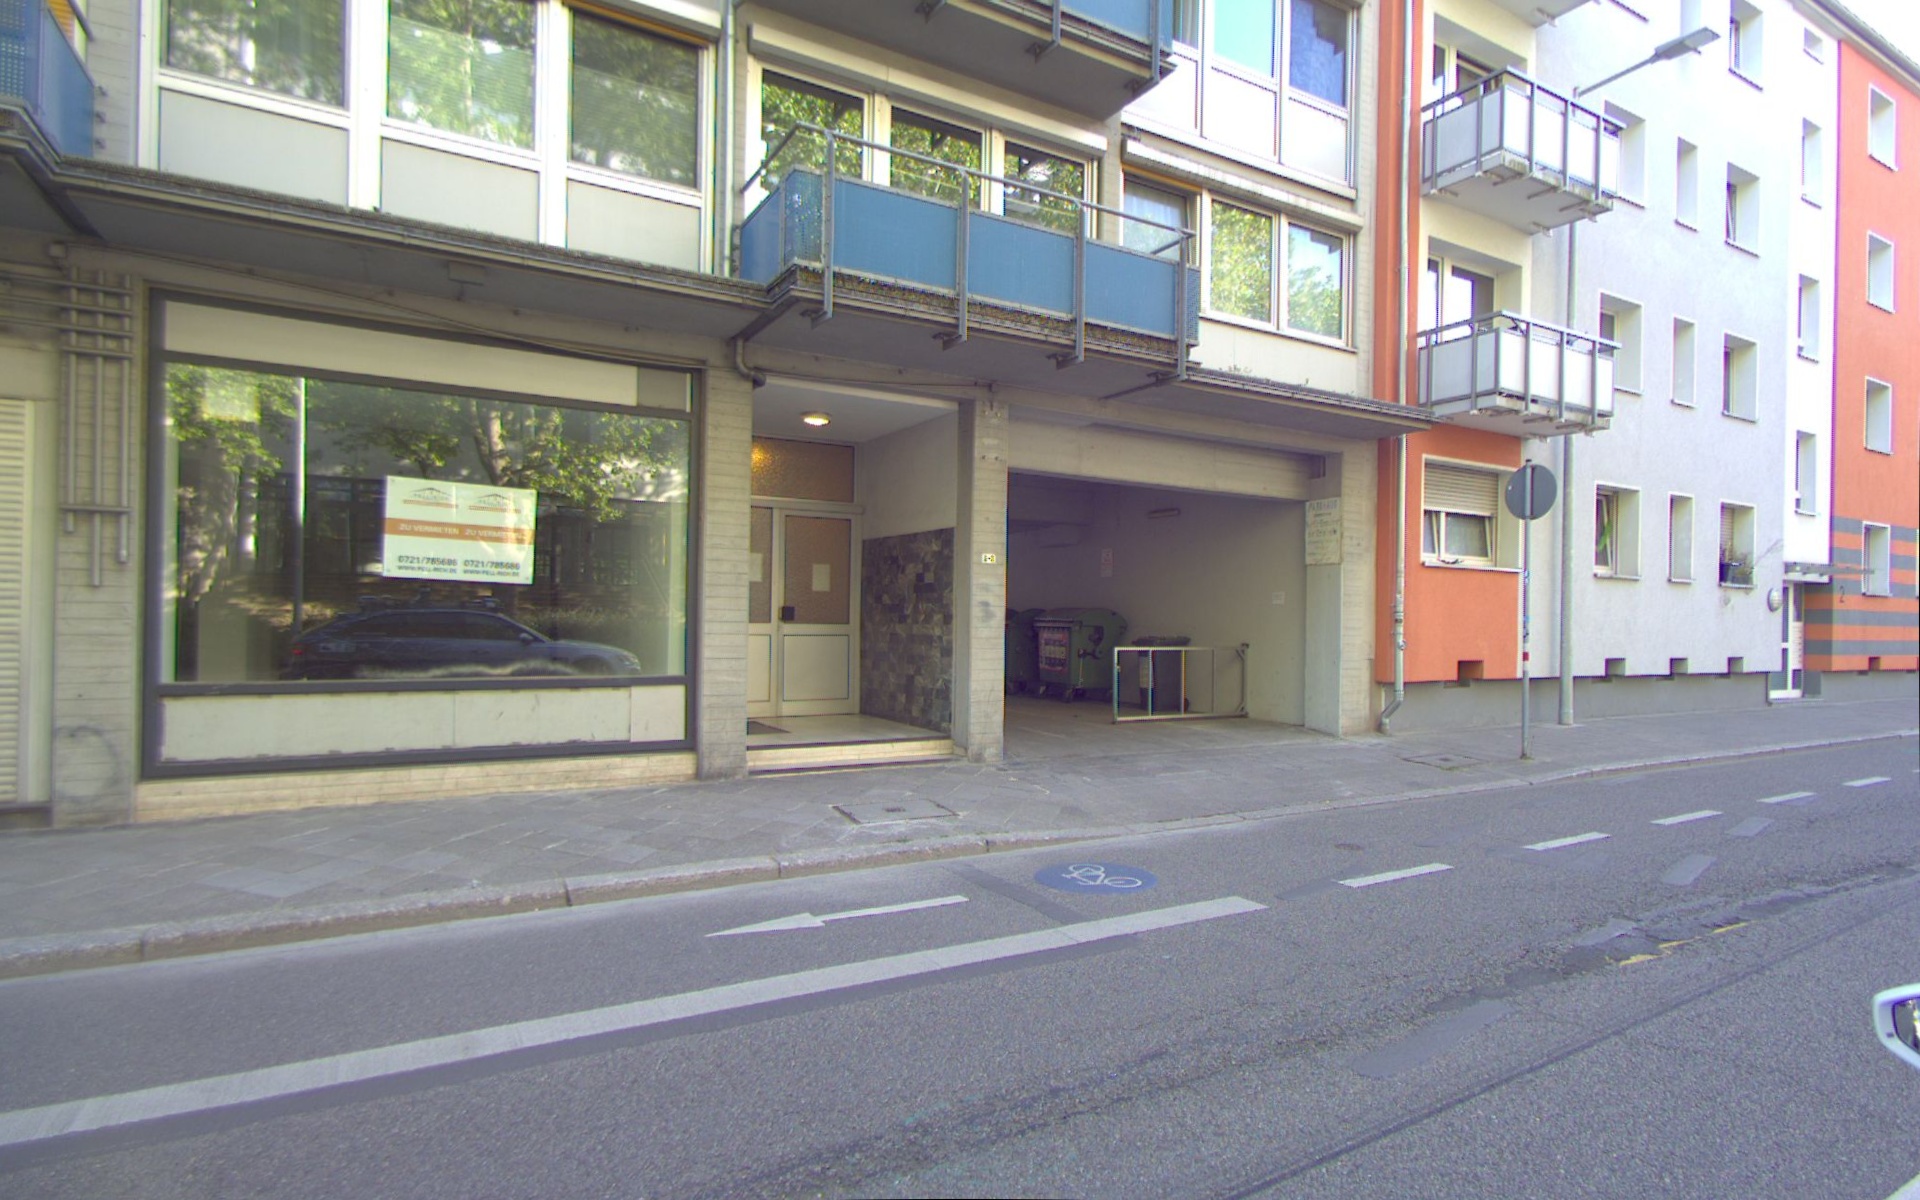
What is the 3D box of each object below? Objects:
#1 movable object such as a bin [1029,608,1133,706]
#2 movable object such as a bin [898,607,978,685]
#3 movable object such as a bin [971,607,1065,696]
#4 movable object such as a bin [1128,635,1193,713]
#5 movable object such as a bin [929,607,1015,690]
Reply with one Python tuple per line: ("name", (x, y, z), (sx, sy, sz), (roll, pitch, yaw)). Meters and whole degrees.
("movable object such as a bin", (1.893, 0.867, 15.812), (1.116, 1.444, 1.201), (1, 0, -30))
("movable object such as a bin", (-0.437, 0.873, 19.618), (1.116, 1.444, 1.201), (1, 0, -30))
("movable object such as a bin", (0.981, 0.861, 17.171), (1.116, 1.444, 1.201), (1, 0, -30))
("movable object such as a bin", (2.890, 1.049, 14.502), (0.667, 1.079, 0.639), (1, 0, -30))
("movable object such as a bin", (0.210, 0.867, 18.469), (1.116, 1.444, 1.201), (1, 0, -30))
